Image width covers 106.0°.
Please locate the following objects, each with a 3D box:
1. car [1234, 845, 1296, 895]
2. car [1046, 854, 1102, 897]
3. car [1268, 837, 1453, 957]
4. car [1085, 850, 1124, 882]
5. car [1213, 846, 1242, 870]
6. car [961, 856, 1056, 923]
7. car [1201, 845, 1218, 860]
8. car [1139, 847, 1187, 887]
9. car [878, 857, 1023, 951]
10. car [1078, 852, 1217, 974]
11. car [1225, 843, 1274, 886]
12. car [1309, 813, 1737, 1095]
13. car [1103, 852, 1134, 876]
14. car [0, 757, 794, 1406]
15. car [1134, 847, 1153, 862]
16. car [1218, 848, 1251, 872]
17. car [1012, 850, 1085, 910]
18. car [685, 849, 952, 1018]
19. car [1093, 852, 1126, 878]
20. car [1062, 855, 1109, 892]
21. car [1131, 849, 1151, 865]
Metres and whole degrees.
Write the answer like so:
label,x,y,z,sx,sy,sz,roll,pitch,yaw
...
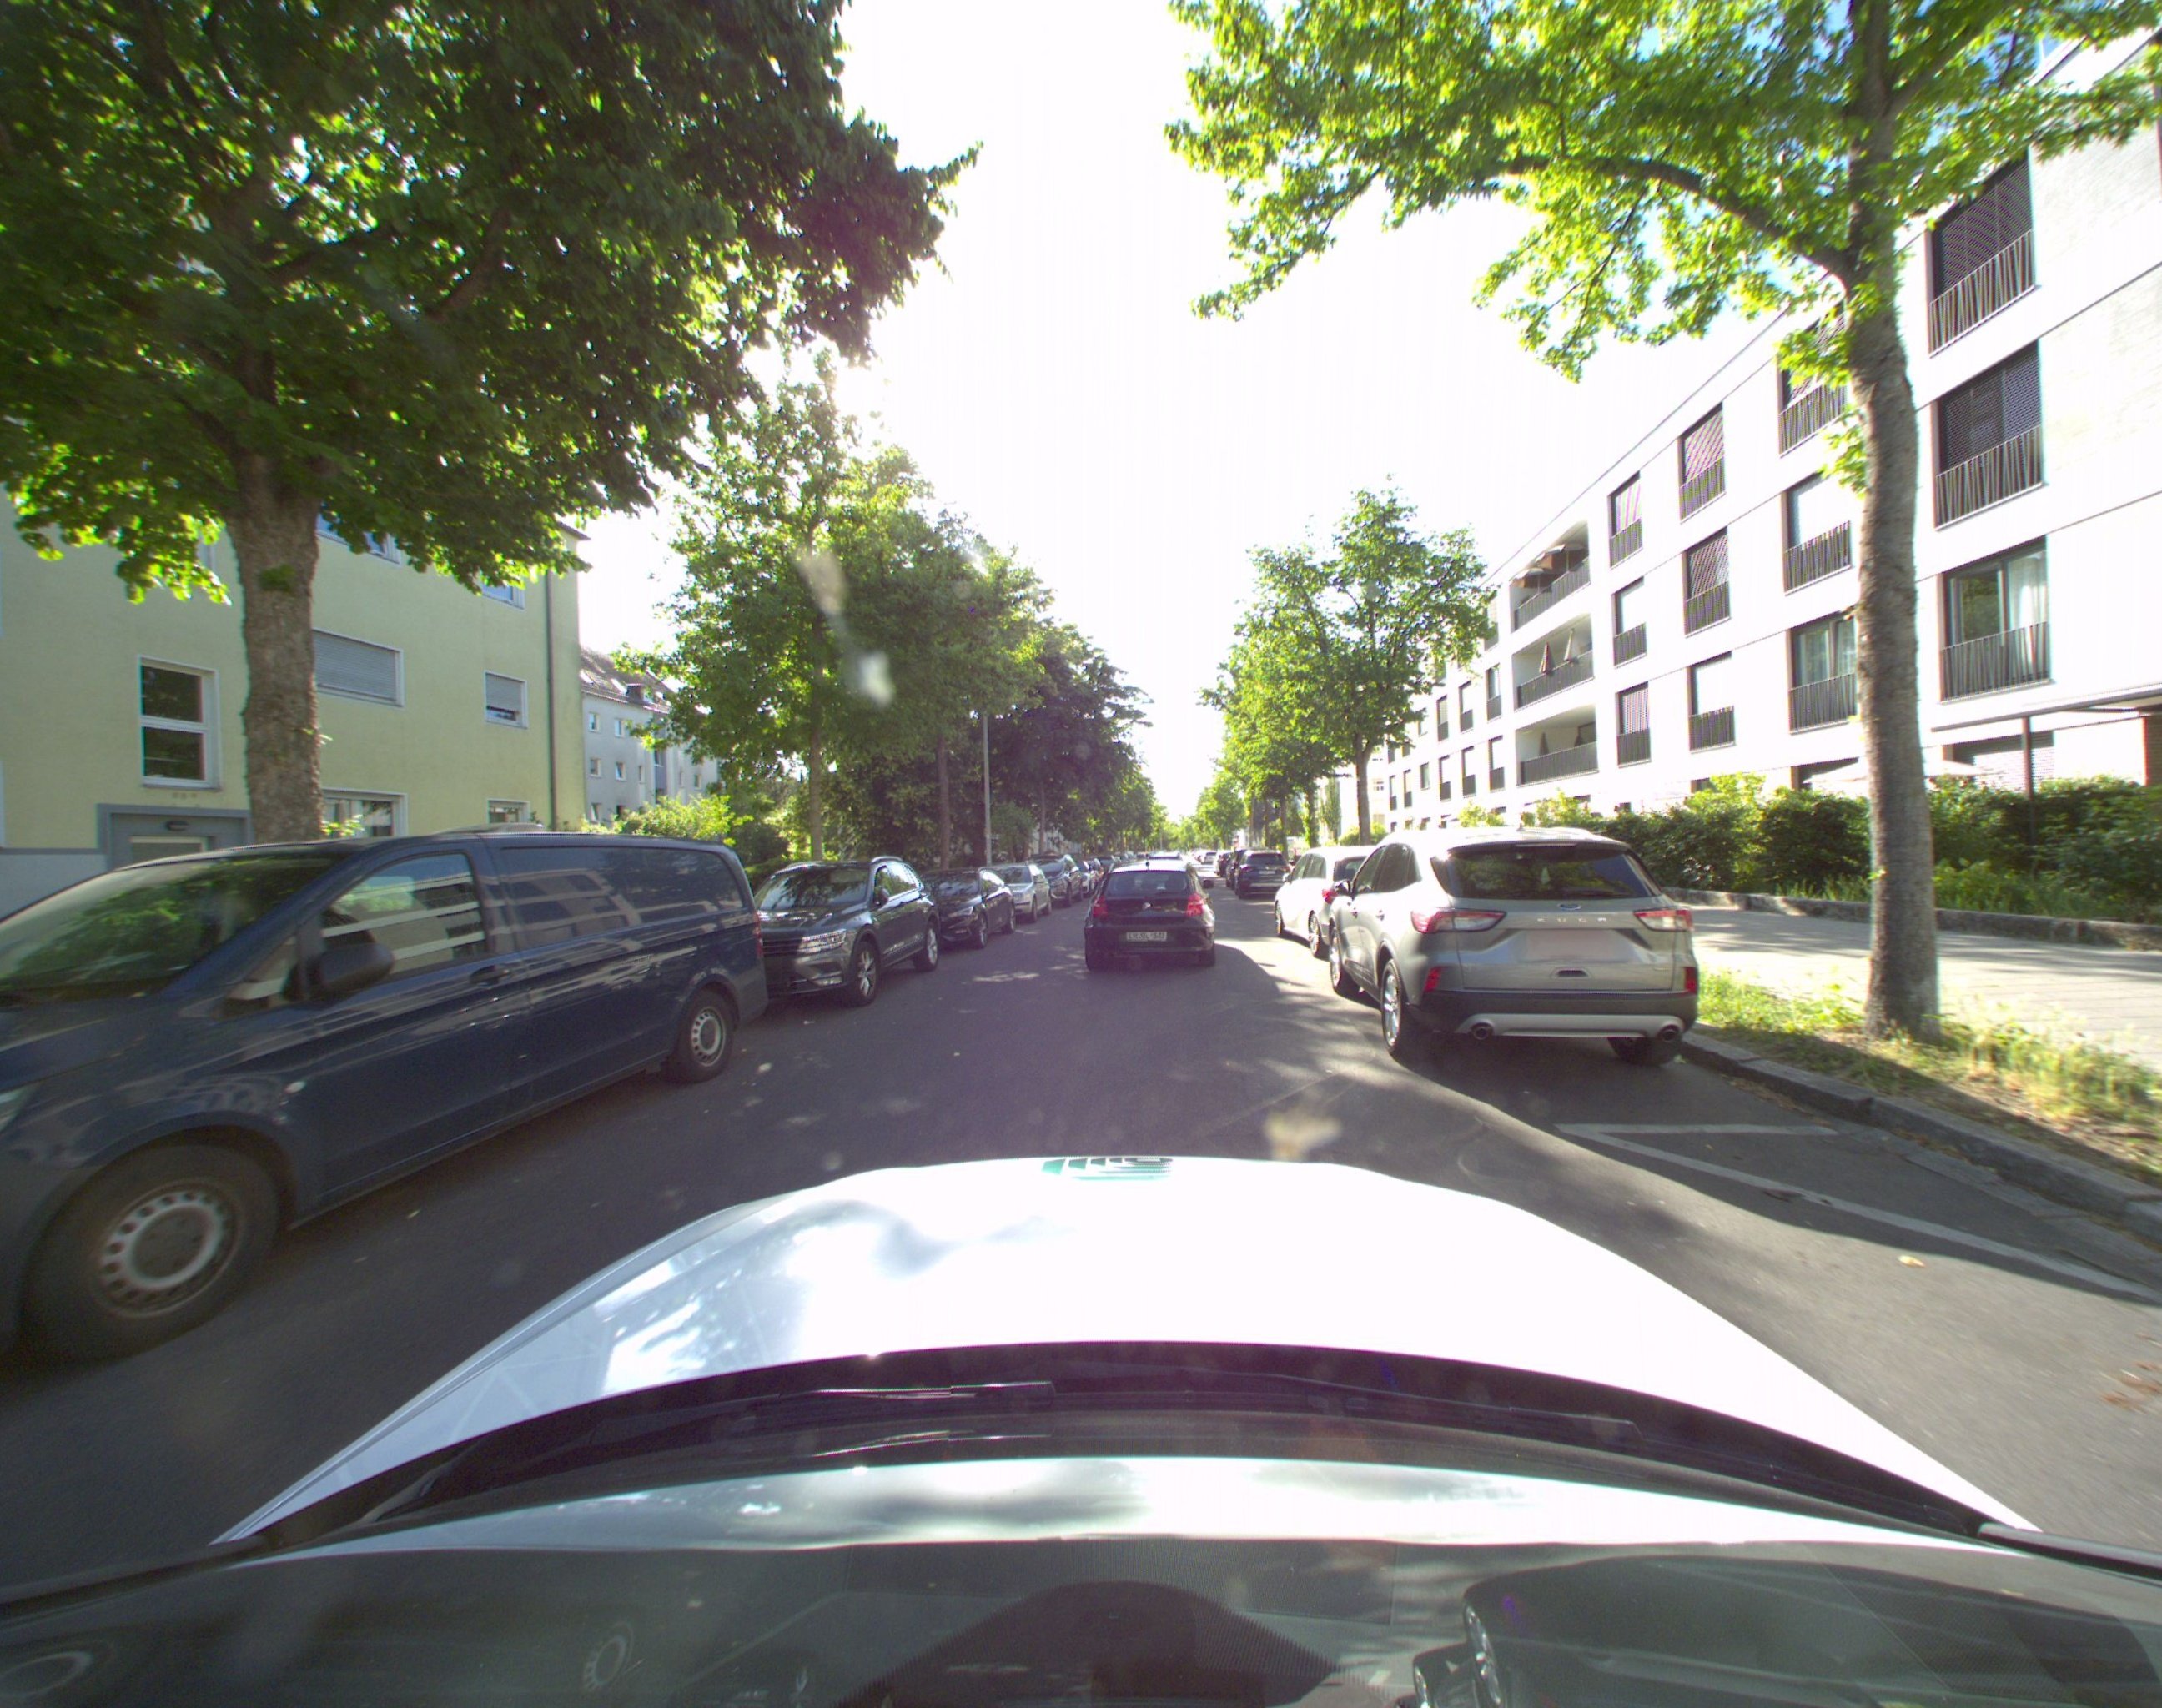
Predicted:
label,x,y,z,sx,sy,sz,roll,pitch,yaw
car,6.012,0.474,27.000,1.711,1.528,4.010,0,0,8
car,-0.215,0.803,31.733,1.604,1.452,3.873,-3,0,7
car,4.118,0.557,12.658,1.686,1.524,4.004,-1,0,3
car,1.288,0.604,43.183,1.604,1.543,3.873,-3,0,7
car,9.433,0.248,52.743,1.711,1.480,3.860,0,0,8
car,-1.736,0.828,20.669,1.604,1.427,3.733,-3,0,7
car,13.876,-0.182,87.831,1.710,1.480,3.862,-3,0,10
car,3.360,0.487,32.658,1.640,1.425,4.011,-3,0,9
car,-2.331,0.849,15.599,1.604,1.427,4.066,-3,0,7
car,0.901,0.726,11.689,1.643,1.397,3.414,-3,0,3
car,6.754,0.368,32.974,1.711,1.641,3.860,0,0,8
car,3.202,0.595,7.020,1.837,1.631,4.421,-1,0,9
car,2.461,0.590,52.587,1.604,1.392,3.873,-3,0,7
car,-3.808,0.698,4.637,1.816,1.904,5.154,-4,0,8
car,6.311,0.021,82.032,1.604,1.392,3.873,-3,0,7
car,8.997,0.331,47.964,1.711,1.379,3.860,0,0,8
car,-0.958,0.747,26.066,1.604,1.679,4.242,-3,0,7
car,-2.987,0.796,10.319,1.604,1.611,4.236,-3,0,5
car,1.718,0.615,48.106,1.604,1.392,3.873,-3,0,7
car,0.260,0.811,36.330,1.604,1.452,3.873,-3,0,7
car,5.688,0.253,76.632,1.604,1.392,3.873,-3,0,7
